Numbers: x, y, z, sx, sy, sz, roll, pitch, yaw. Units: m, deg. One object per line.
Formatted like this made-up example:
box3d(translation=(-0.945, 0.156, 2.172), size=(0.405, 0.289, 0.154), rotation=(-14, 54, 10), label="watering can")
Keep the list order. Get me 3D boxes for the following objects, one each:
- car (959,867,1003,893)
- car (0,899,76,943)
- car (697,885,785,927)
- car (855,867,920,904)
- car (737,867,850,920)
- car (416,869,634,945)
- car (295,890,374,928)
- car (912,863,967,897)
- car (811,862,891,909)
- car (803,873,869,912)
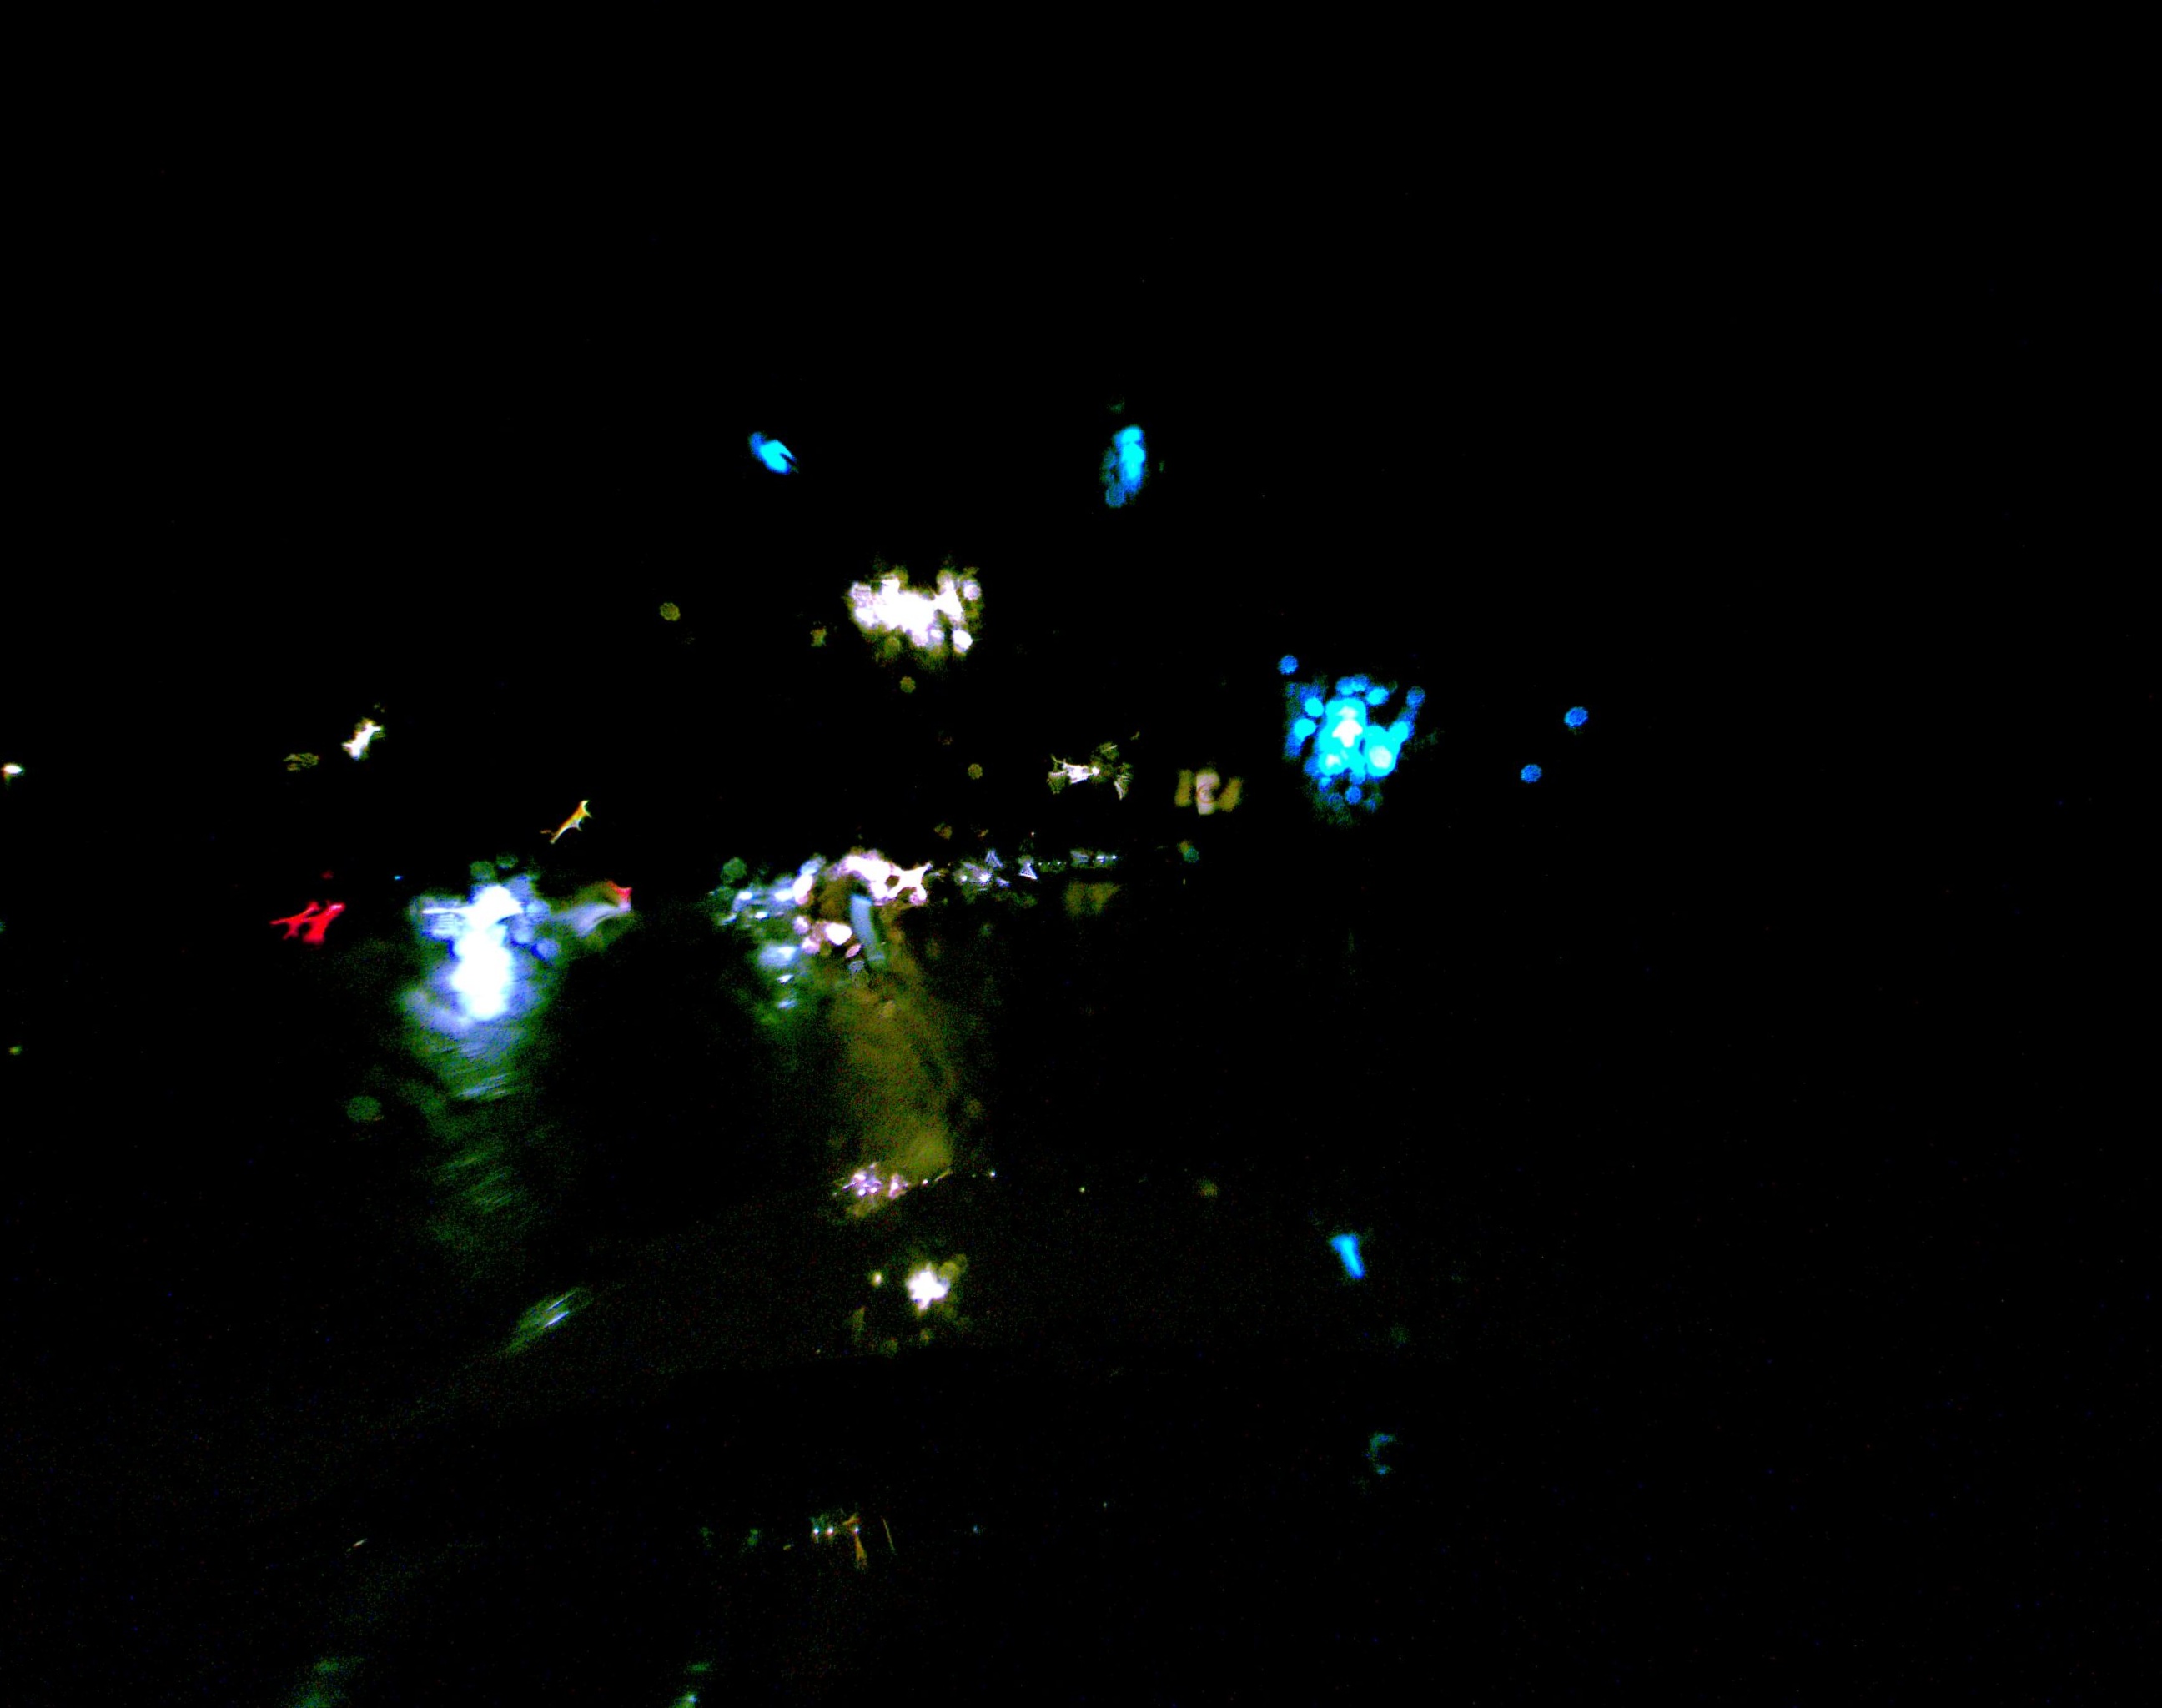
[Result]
box3d(translation=(-6.380, 1.678, 52.522), size=(1.699, 1.534, 4.608), rotation=(-2, -2, 7), label="car")
box3d(translation=(-51.175, 3.179, 38.112), size=(1.985, 1.940, 4.928), rotation=(-2, -2, 4), label="car")
box3d(translation=(-12.994, 1.959, 31.327), size=(1.661, 1.454, 3.730), rotation=(-2, -2, 3), label="car")
box3d(translation=(-8.514, 1.383, 36.068), size=(1.577, 1.526, 3.658), rotation=(-2, -2, 7), label="car")
box3d(translation=(-9.433, 1.231, 27.172), size=(1.690, 1.571, 4.719), rotation=(-2, -1, 5), label="car")
box3d(translation=(-13.234, 1.182, 19.856), size=(1.785, 1.571, 4.916), rotation=(-1, -1, 2), label="car")
box3d(translation=(-41.299, 3.022, 45.178), size=(1.721, 1.831, 3.974), rotation=(-2, -1, -19), label="car")
box3d(translation=(-7.458, 1.374, 43.414), size=(1.708, 1.703, 4.151), rotation=(-2, -2, 7), label="car")
box3d(translation=(-8.884, 1.205, 31.773), size=(1.673, 1.691, 3.953), rotation=(-2, -2, 5), label="car")
box3d(translation=(-11.751, 1.842, 39.405), size=(1.987, 1.720, 3.998), rotation=(-1, -2, -1), label="car")
